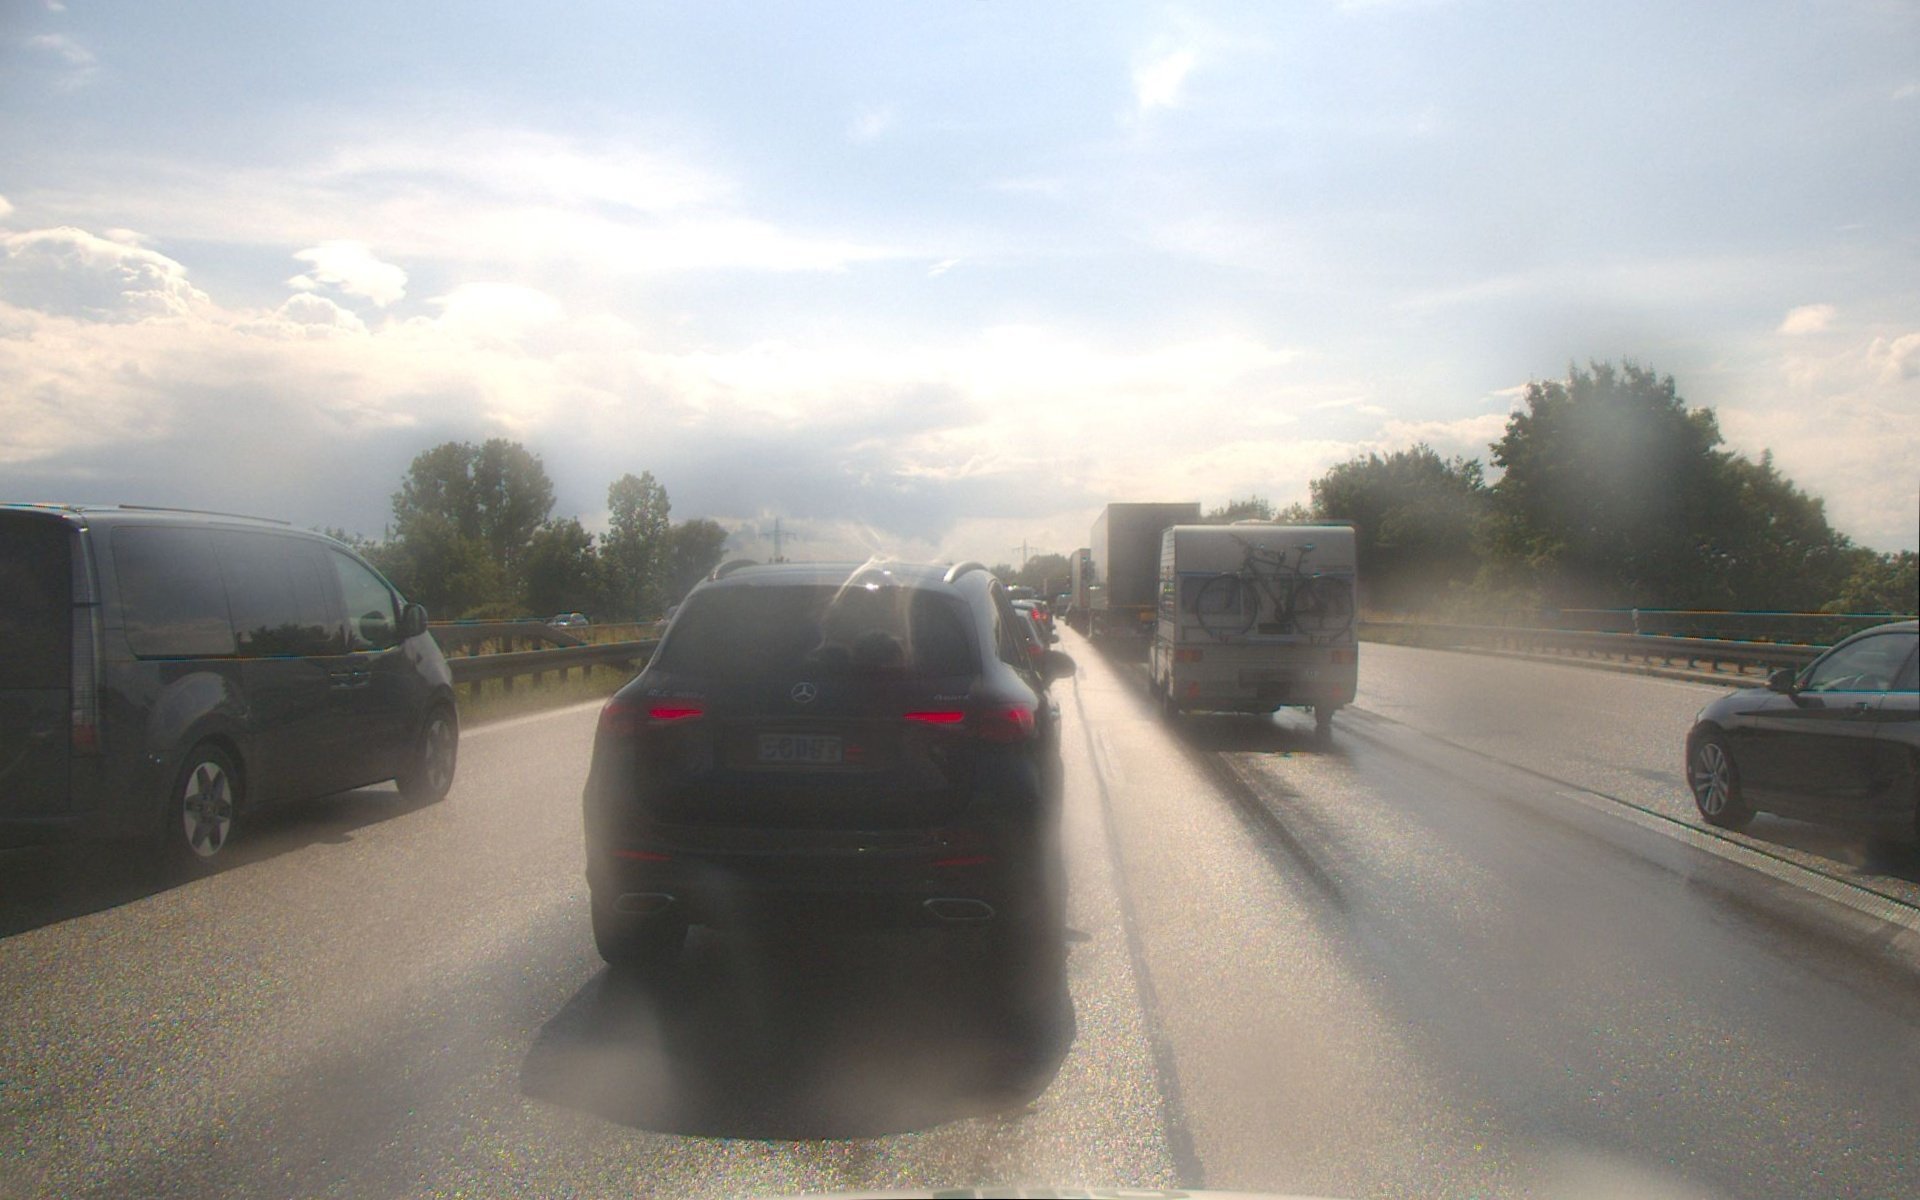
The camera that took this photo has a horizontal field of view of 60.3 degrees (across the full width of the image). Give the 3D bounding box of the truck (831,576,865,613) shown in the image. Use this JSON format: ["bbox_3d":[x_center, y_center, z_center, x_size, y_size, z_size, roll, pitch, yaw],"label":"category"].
[{"bbox_3d":[-12.085,-0.520,178.763,2.802,3.888,7.880,0,-1,3],"label":"truck"}]

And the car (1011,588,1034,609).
[{"bbox_3d":[5.353,-0.122,141.396,1.837,1.791,4.000,1,0,0],"label":"car"}]

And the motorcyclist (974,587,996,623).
[{"bbox_3d":[1.271,0.253,82.928,1.041,1.748,0.785,0,0,3],"label":"motorcyclist"}]

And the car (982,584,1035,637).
[{"bbox_3d":[1.976,0.407,65.738,1.952,2.049,4.002,0,0,4],"label":"car"}]

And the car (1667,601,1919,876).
[{"bbox_3d":[6.088,0.749,9.857,1.811,1.490,4.254,-1,0,-2],"label":"car"}]

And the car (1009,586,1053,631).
[{"bbox_3d":[3.384,0.394,78.390,1.952,2.049,4.002,0,0,4],"label":"car"}]

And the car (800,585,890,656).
[{"bbox_3d":[-2.972,0.527,43.571,1.952,1.750,4.001,1,0,2],"label":"car"}]

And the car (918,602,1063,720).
[{"bbox_3d":[0.485,0.737,21.882,1.720,1.411,3.947,0,0,4],"label":"car"}]

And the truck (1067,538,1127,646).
[{"bbox_3d":[6.544,-0.371,79.679,2.450,4.914,7.545,1,0,2],"label":"truck"}]

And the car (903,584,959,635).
[{"bbox_3d":[-1.234,0.402,71.709,1.952,2.048,4.002,4,0,4],"label":"car"}]

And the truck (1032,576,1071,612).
[{"bbox_3d":[10.808,-0.693,196.607,3.765,4.087,11.219,1,0,-1],"label":"truck"}]

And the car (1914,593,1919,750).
[{"bbox_3d":[10.536,0.725,14.846,1.810,1.596,4.001,0,0,3],"label":"car"}]

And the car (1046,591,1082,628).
[{"bbox_3d":[6.204,0.566,98.588,1.952,2.048,4.002,4,0,4],"label":"car"}]

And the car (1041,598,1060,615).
[{"bbox_3d":[9.652,0.730,175.975,1.837,1.791,4.000,1,0,0],"label":"car"}]

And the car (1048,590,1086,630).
[{"bbox_3d":[5.751,0.529,88.624,1.952,2.049,4.002,2,0,4],"label":"car"}]

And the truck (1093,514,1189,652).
[{"bbox_3d":[5.862,-0.530,53.970,2.932,4.239,5.243,0,0,5],"label":"truck"}]

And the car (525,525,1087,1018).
[{"bbox_3d":[-0.425,0.594,7.918,1.952,1.690,4.407,0,0,3],"label":"car"}]

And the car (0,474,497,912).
[{"bbox_3d":[-4.793,0.434,10.430,1.951,2.049,5.272,0,0,4],"label":"car"}]

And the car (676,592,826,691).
[{"bbox_3d":[-3.431,0.647,27.895,1.720,1.543,4.211,0,0,4],"label":"car"}]

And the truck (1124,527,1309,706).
[{"bbox_3d":[3.929,0.244,26.389,2.324,2.520,5.758,1,0,3],"label":"truck"}]

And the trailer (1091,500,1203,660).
[{"bbox_3d":[5.367,-0.534,48.448,2.943,4.239,8.541,0,0,5],"label":"trailer"}]

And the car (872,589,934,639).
[{"bbox_3d":[-2.118,0.506,62.629,1.952,1.803,4.002,0,0,4],"label":"car"}]

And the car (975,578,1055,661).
[{"bbox_3d":[1.510,0.490,43.754,1.952,2.049,4.002,1,0,4],"label":"car"}]

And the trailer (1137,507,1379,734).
[{"bbox_3d":[3.713,0.239,21.950,2.324,2.527,6.525,1,0,3],"label":"trailer"}]

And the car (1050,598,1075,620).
[{"bbox_3d":[8.409,0.740,136.394,1.837,1.791,4.000,1,0,0],"label":"car"}]

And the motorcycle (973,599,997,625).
[{"bbox_3d":[1.269,0.609,82.921,1.051,1.293,2.691,0,0,4],"label":"motorcycle"}]

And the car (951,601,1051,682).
[{"bbox_3d":[0.841,0.750,31.640,1.768,1.432,4.002,1,0,3],"label":"car"}]

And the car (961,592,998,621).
[{"bbox_3d":[1.195,0.397,101.569,1.952,1.644,4.002,4,0,4],"label":"car"}]

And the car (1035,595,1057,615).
[{"bbox_3d":[8.077,0.473,155.504,1.837,1.791,4.000,1,0,0],"label":"car"}]

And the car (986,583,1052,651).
[{"bbox_3d":[2.001,0.535,54.864,1.952,2.048,4.002,4,0,4],"label":"car"}]
